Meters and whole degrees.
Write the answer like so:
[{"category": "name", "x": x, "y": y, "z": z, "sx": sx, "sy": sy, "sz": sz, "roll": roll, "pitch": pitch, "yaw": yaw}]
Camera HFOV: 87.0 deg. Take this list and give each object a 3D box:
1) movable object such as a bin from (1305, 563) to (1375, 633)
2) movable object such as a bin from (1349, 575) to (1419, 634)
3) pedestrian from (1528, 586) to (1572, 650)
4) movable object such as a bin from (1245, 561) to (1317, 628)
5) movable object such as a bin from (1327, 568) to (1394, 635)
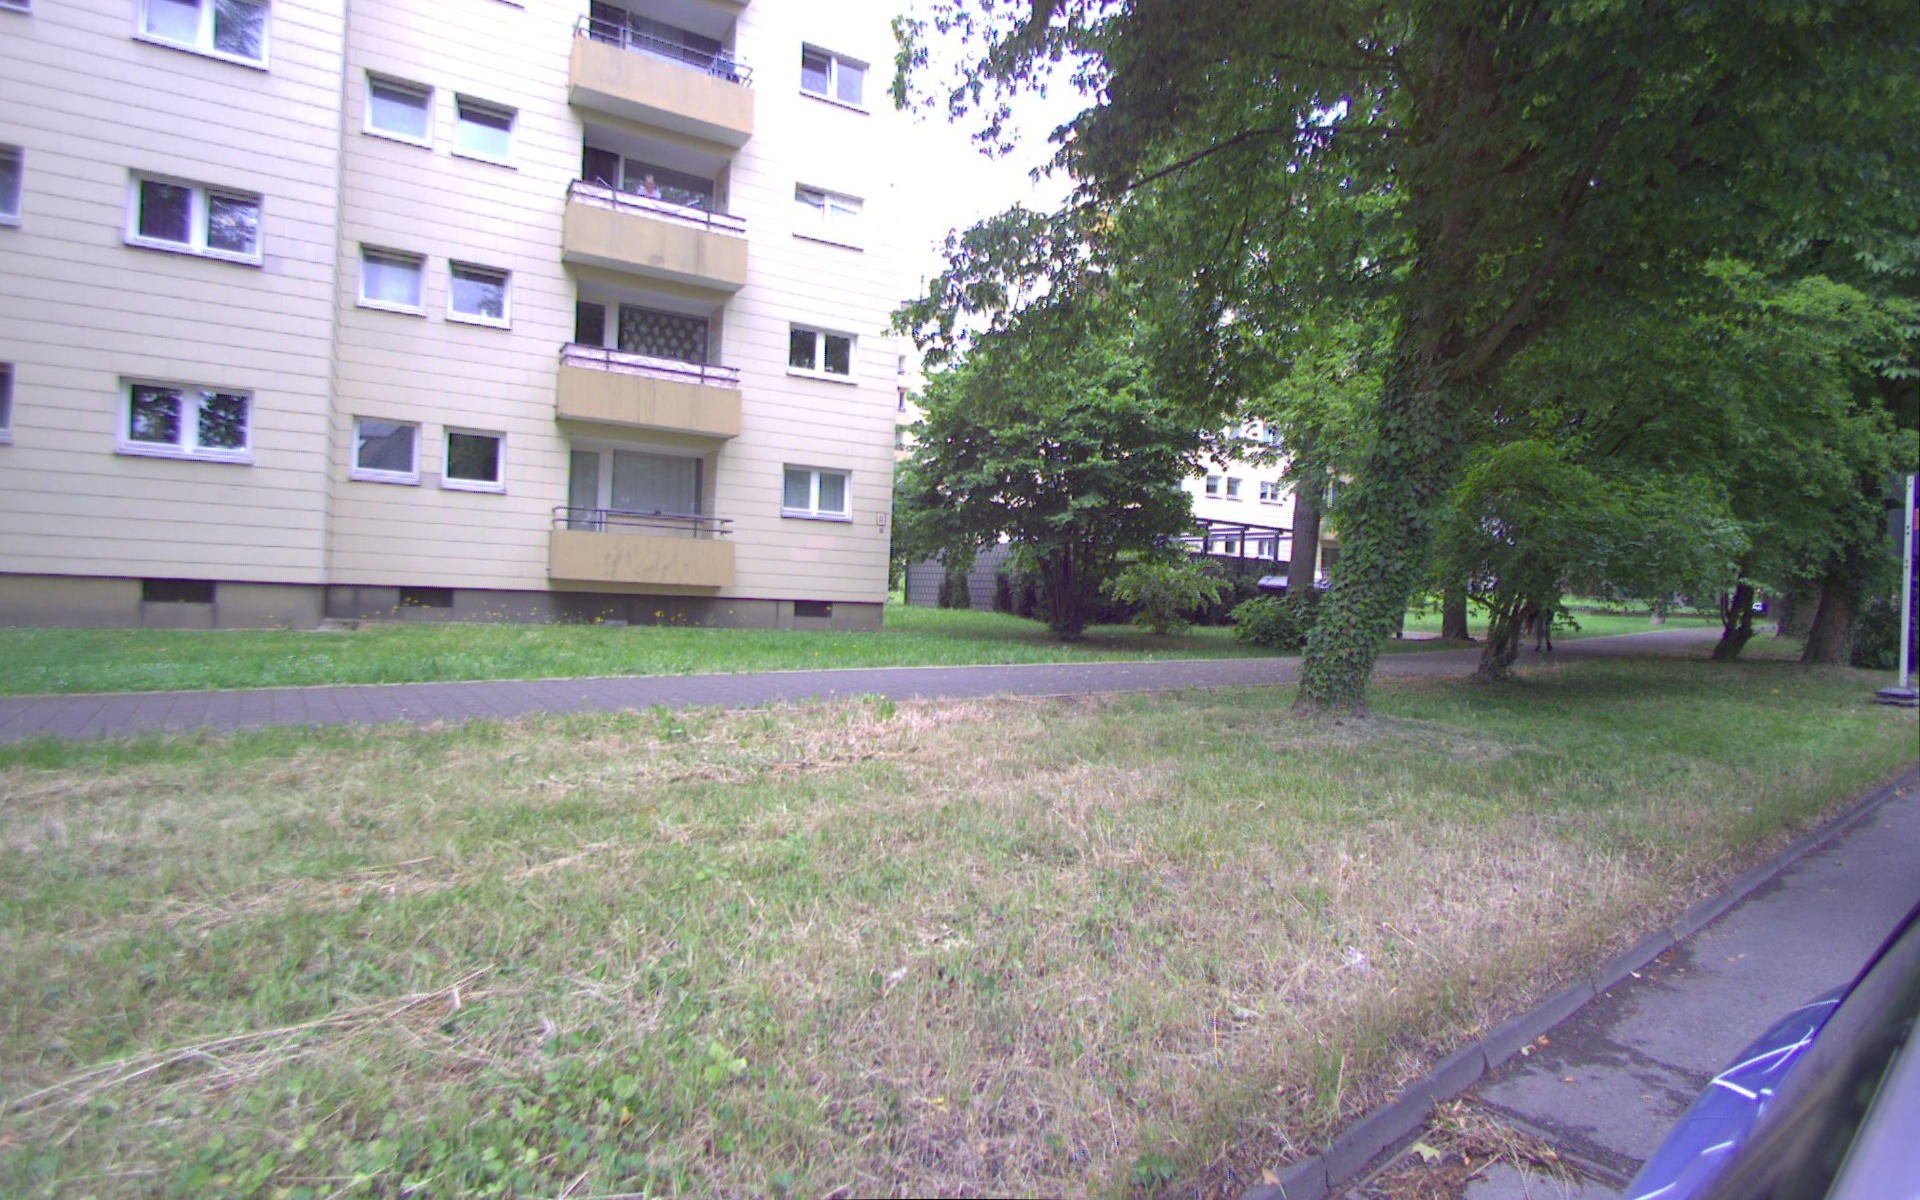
[{"category": "movable object such as a bin", "x": 9.544, "y": -0.064, "z": 25.435, "sx": 1.004, "sy": 1.662, "sz": 1.275, "roll": -1, "pitch": 4, "yaw": -45}, {"category": "movable object such as a bin", "x": 11.352, "y": 0.097, "z": 27.131, "sx": 1.182, "sy": 1.492, "sz": 1.326, "roll": -1, "pitch": 4, "yaw": -45}, {"category": "pedestrian", "x": 13.254, "y": 0.387, "z": 22.744, "sx": 0.596, "sy": 1.398, "sz": 0.688, "roll": 0, "pitch": 2, "yaw": -42}, {"category": "movable object such as a bin", "x": 8.413, "y": -0.161, "z": 26.517, "sx": 1.004, "sy": 1.662, "sz": 1.432, "roll": -1, "pitch": 4, "yaw": -45}, {"category": "movable object such as a bin", "x": 10.430, "y": 0.015, "z": 26.355, "sx": 1.058, "sy": 1.662, "sz": 1.238, "roll": -1, "pitch": 4, "yaw": -45}]
